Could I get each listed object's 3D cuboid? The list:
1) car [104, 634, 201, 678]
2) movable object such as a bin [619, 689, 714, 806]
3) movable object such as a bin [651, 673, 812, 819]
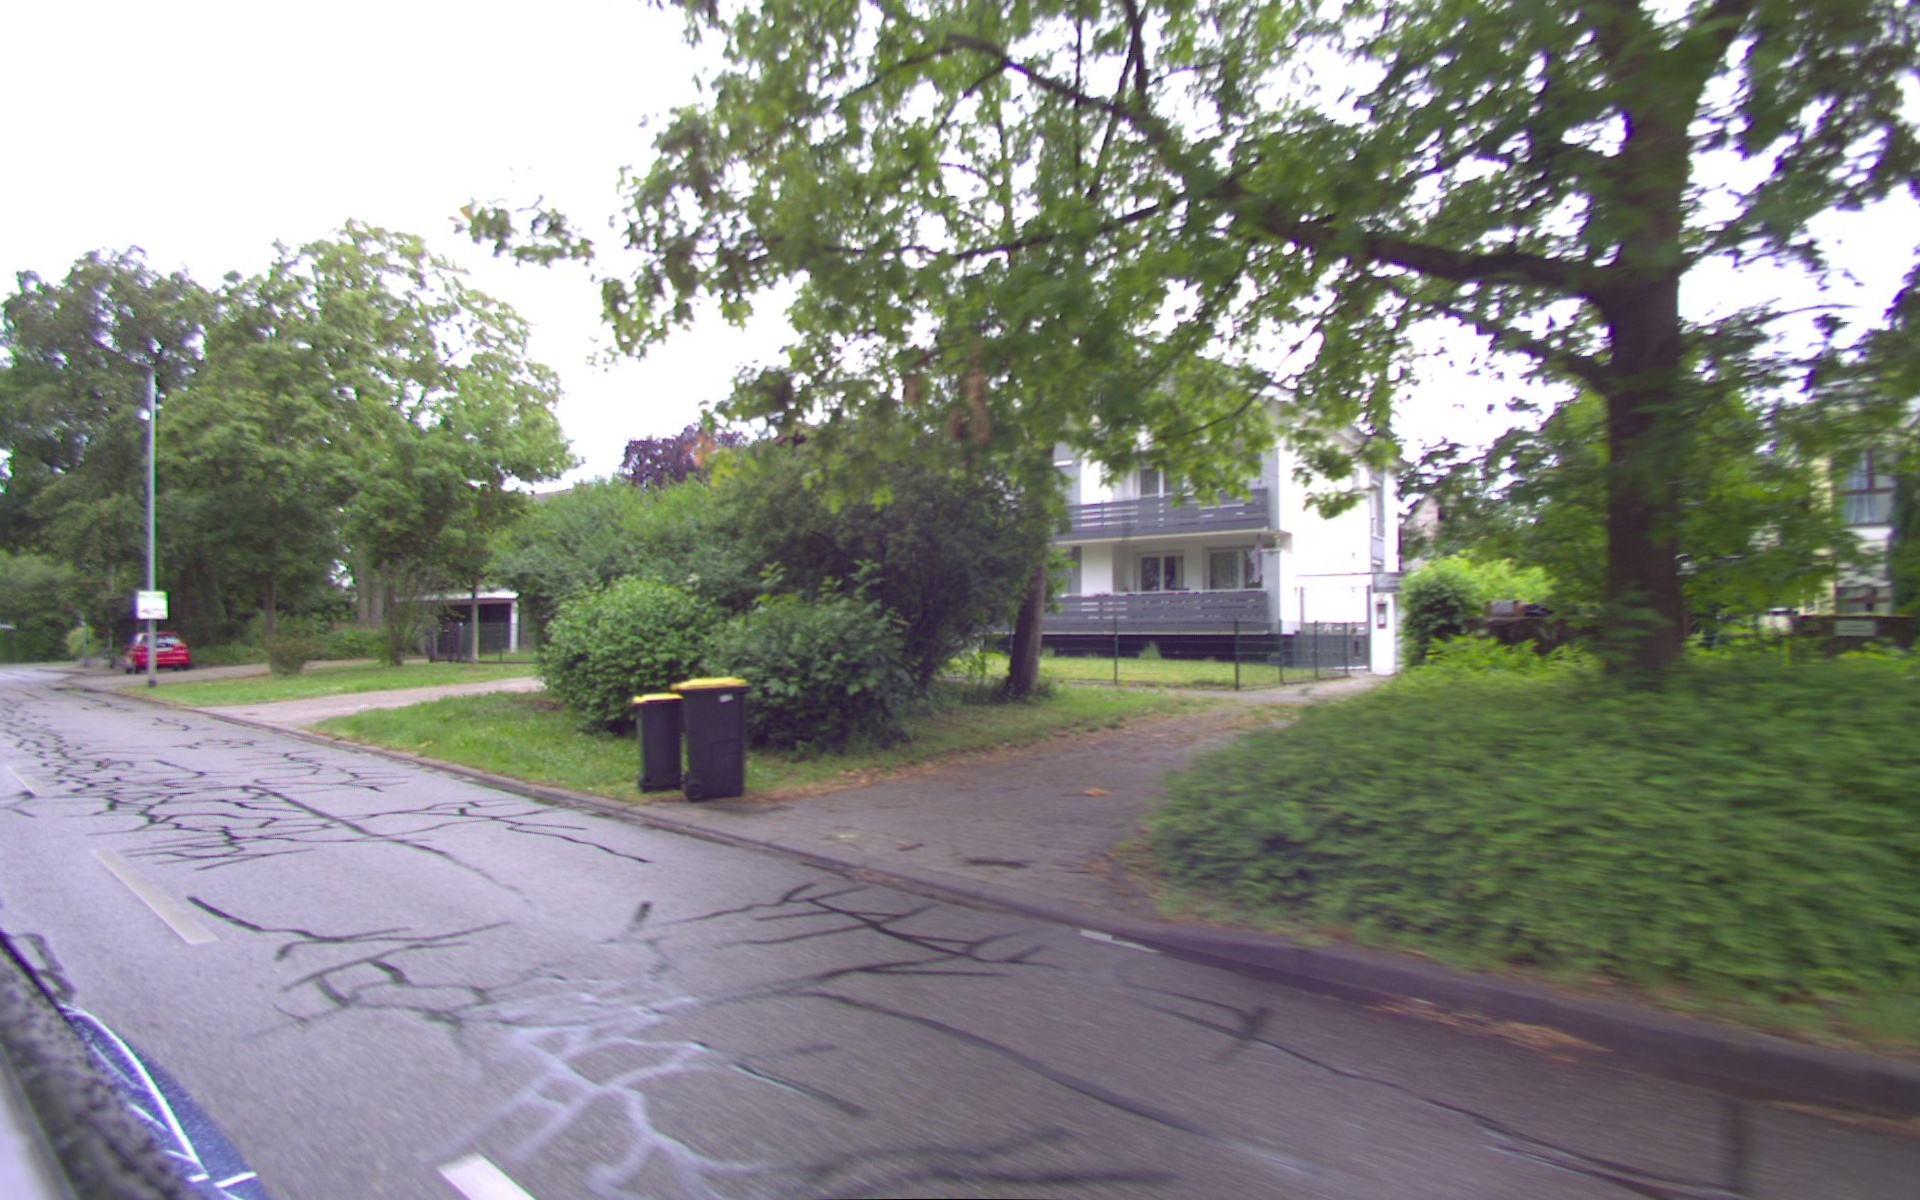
[{"bbox_3d":[-30.794,2.118,38.584,3.995,1.528,1.974,0,-4,38],"label":"car"},{"bbox_3d":[-2.721,1.345,9.393,0.578,0.987,0.641,-2,-3,44],"label":"movable object such as a bin"},{"bbox_3d":[-2.024,1.247,8.981,0.966,1.113,1.026,-2,-2,44],"label":"movable object such as a bin"}]
